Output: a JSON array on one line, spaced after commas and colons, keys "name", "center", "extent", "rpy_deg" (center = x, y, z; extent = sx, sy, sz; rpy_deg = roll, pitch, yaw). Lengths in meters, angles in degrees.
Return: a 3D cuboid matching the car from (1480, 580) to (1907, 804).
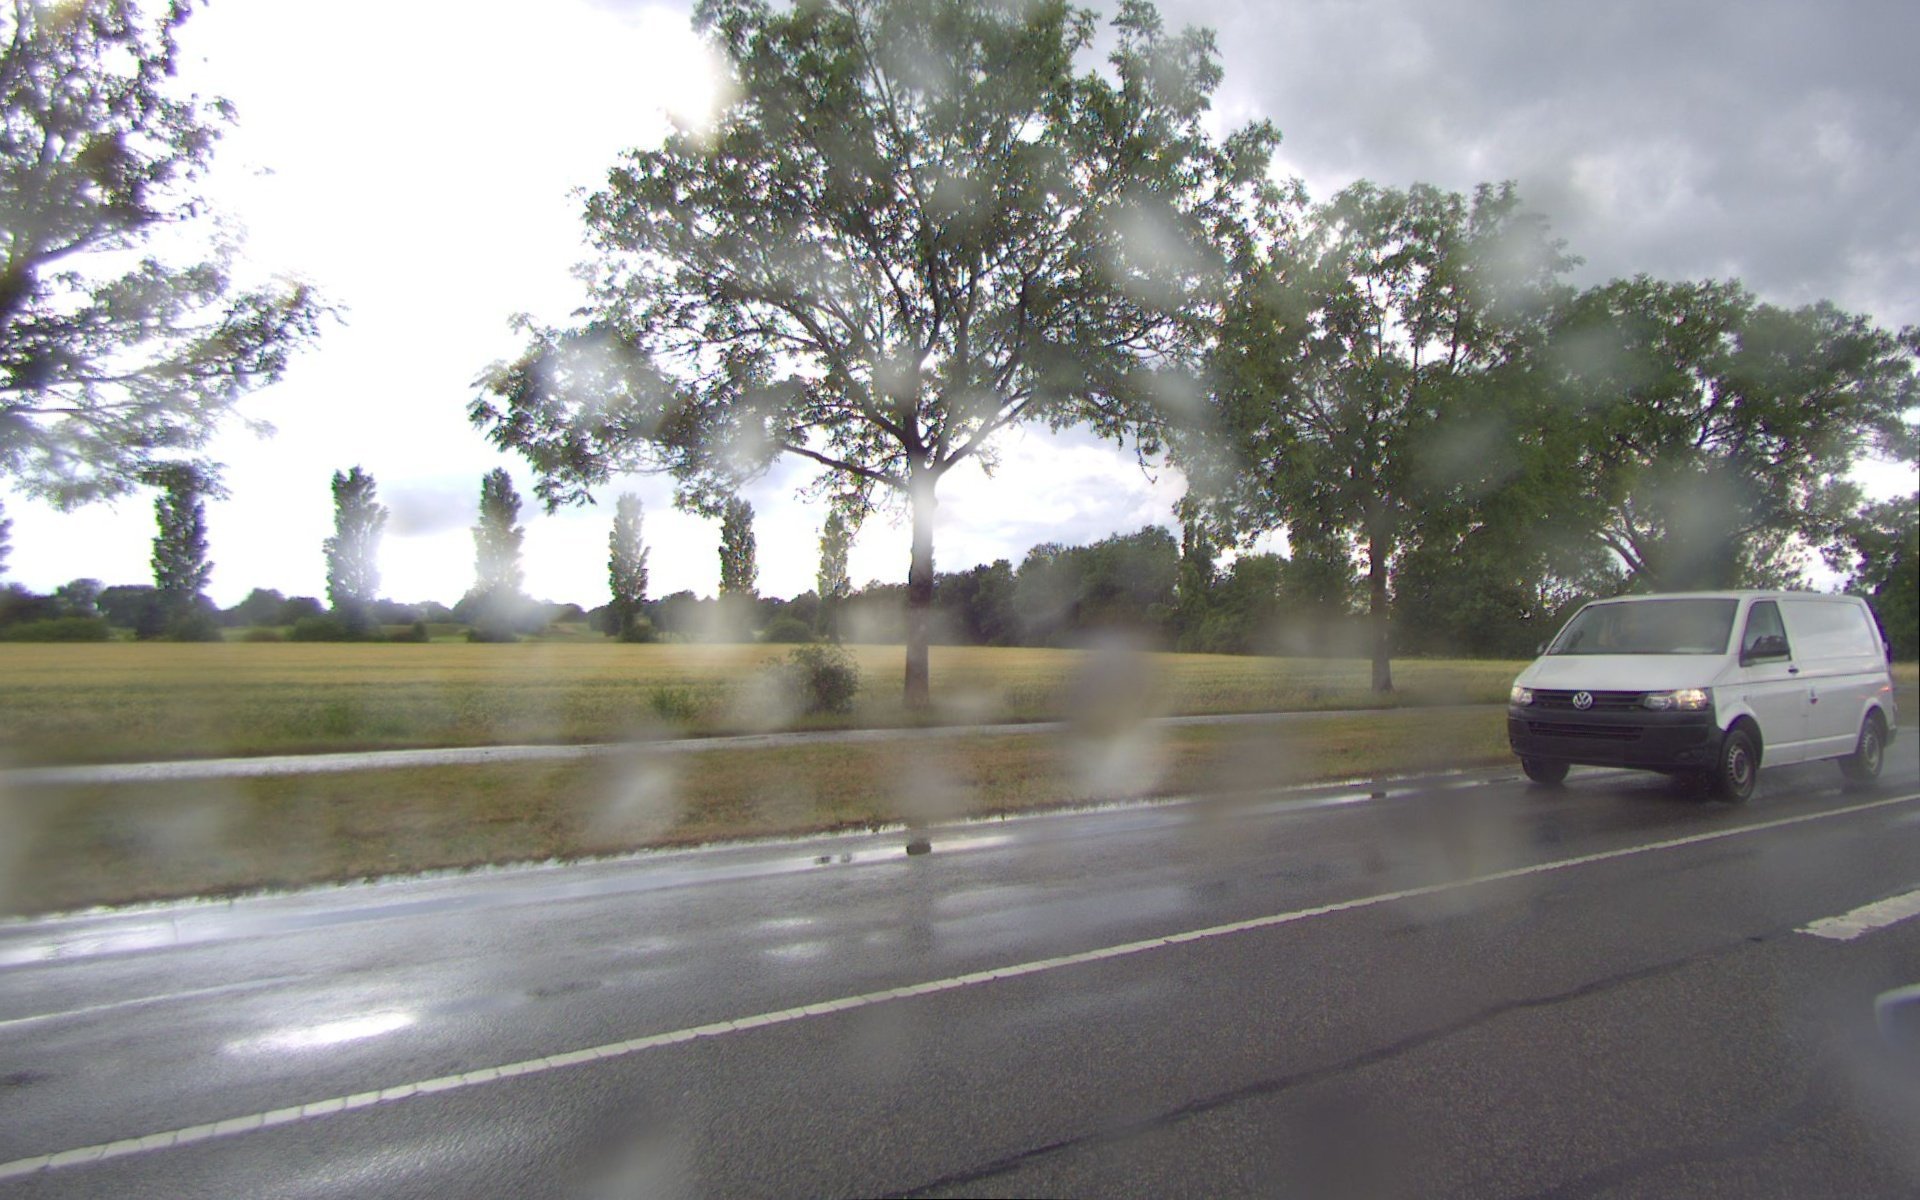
[{"name": "car", "center": [7.726, 0.888, 10.486], "extent": [4.631, 1.885, 1.908], "rpy_deg": [2, -4, -31]}]
